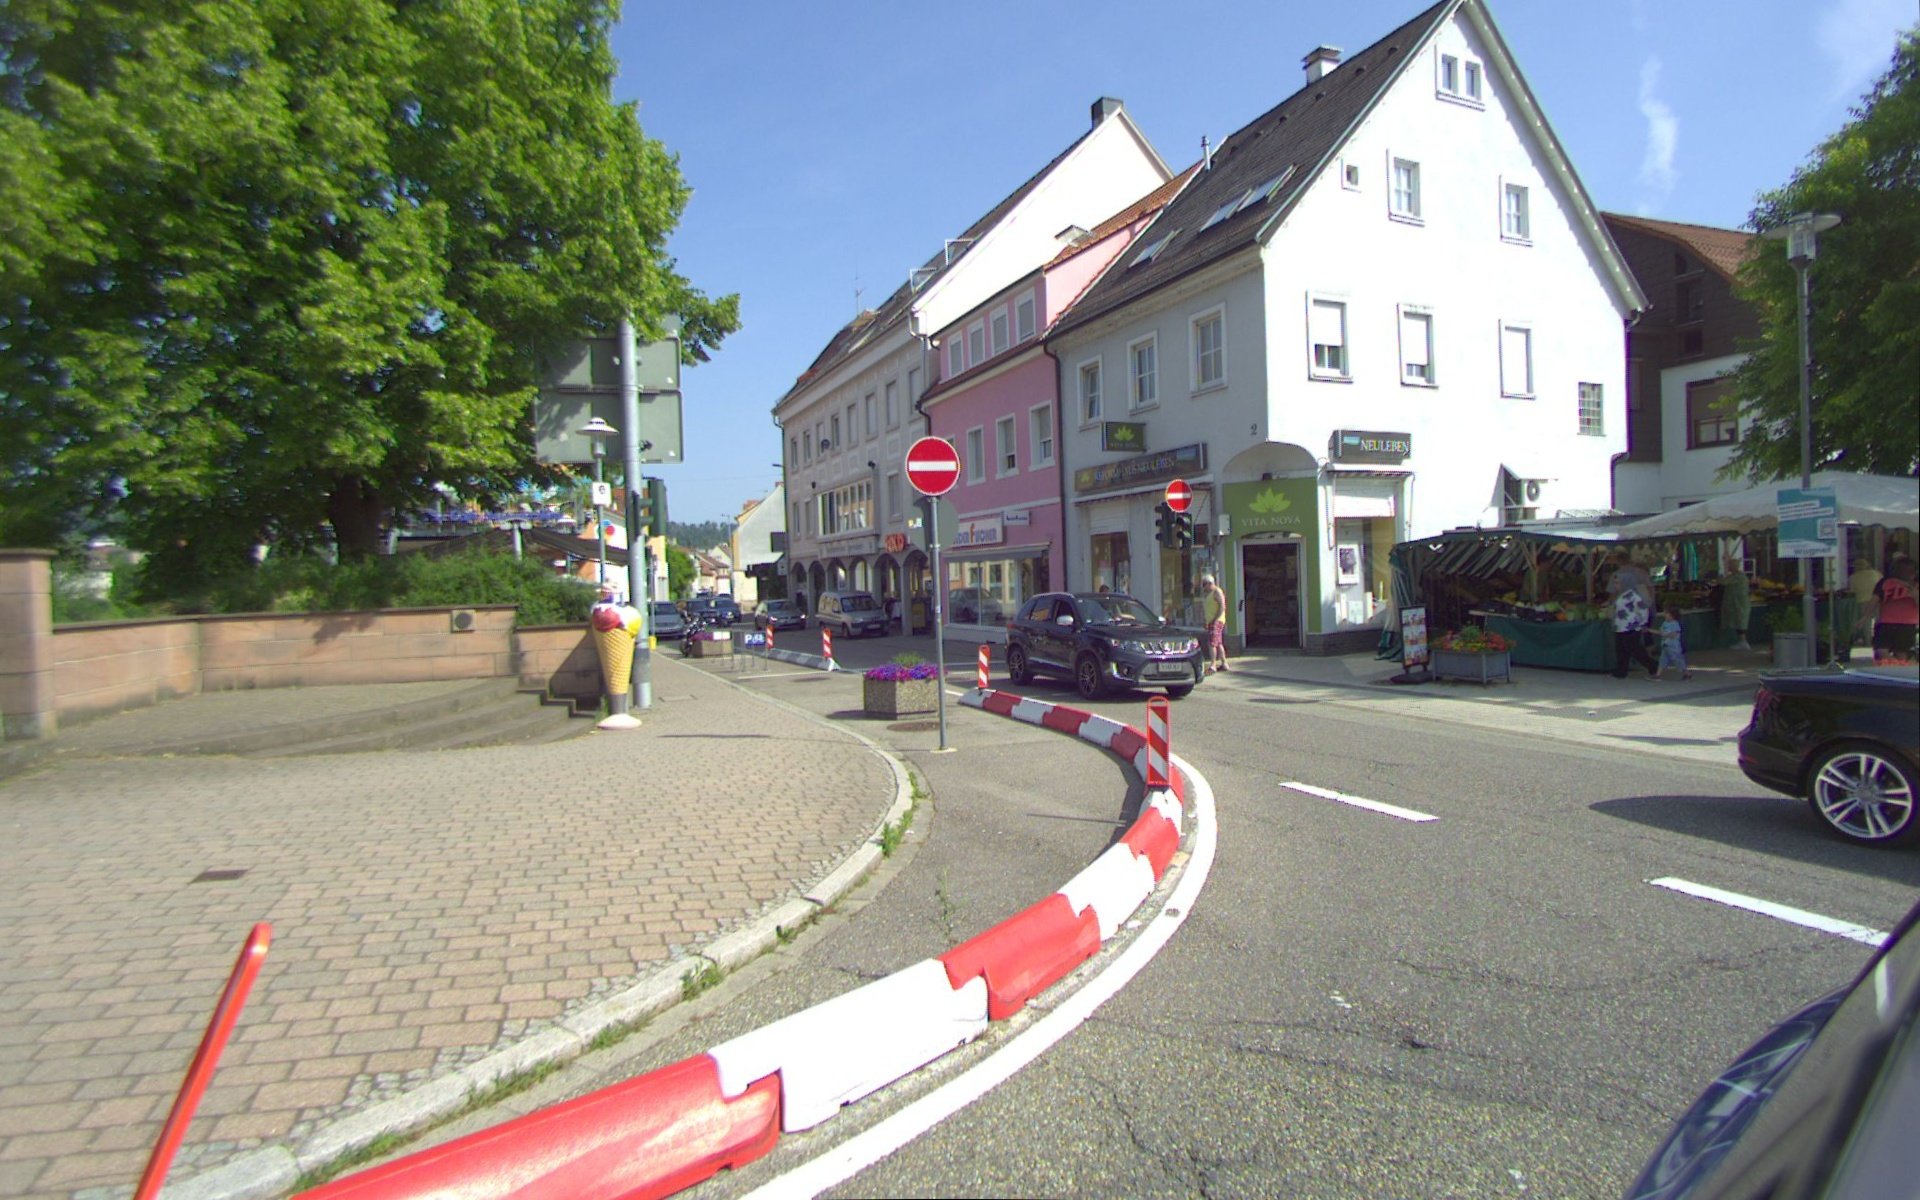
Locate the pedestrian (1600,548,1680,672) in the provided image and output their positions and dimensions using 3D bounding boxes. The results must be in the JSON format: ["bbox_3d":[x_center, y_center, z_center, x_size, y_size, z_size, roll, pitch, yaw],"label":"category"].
[{"bbox_3d":[9.853,0.136,14.691,0.778,1.745,0.703,-1,1,19],"label":"pedestrian"}]

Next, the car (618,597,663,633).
[{"bbox_3d":[-15.164,0.678,47.919,1.649,1.578,4.111,-3,1,-22],"label":"car"}]

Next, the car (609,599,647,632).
[{"bbox_3d":[-18.000,0.817,54.757,1.649,1.666,4.259,-1,0,-22],"label":"car"}]

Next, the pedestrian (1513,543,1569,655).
[{"bbox_3d":[10.590,-0.014,18.447,0.694,1.995,0.508,-1,1,4],"label":"pedestrian"}]

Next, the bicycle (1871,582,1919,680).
[{"bbox_3d":[12.888,0.390,12.841,0.606,1.250,1.862,-3,1,-35],"label":"bicycle"}]

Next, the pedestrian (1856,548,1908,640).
[{"bbox_3d":[15.845,-0.107,17.394,0.623,1.537,0.620,-2,1,-45],"label":"pedestrian"}]

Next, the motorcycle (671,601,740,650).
[{"bbox_3d":[-7.614,0.749,30.298,0.910,1.375,1.879,-2,1,32],"label":"motorcycle"}]

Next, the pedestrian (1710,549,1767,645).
[{"bbox_3d":[13.647,-0.059,17.734,0.693,1.647,0.523,-2,1,-27],"label":"pedestrian"}]

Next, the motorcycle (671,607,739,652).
[{"bbox_3d":[-7.995,0.924,31.815,0.920,1.286,2.072,-2,1,27],"label":"motorcycle"}]

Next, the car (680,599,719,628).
[{"bbox_3d":[-14.884,0.750,57.704,1.649,1.580,3.348,-2,1,-22],"label":"car"}]

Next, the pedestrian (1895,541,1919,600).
[{"bbox_3d":[22.637,-0.706,23.831,0.685,1.346,0.628,-3,3,-19],"label":"pedestrian"}]

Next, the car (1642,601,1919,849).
[{"bbox_3d":[6.434,0.718,5.616,1.719,1.373,4.208,-1,0,-17],"label":"car"}]

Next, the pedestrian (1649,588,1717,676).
[{"bbox_3d":[9.981,0.429,13.989,0.614,1.175,0.513,-1,1,18],"label":"pedestrian"}]

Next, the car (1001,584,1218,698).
[{"bbox_3d":[2.230,0.577,16.223,1.649,1.580,3.978,0,0,-22],"label":"car"}]

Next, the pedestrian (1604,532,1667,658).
[{"bbox_3d":[11.054,-0.093,16.557,0.642,2.010,0.705,-2,1,-43],"label":"pedestrian"}]

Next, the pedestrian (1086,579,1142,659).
[{"bbox_3d":[3.343,0.407,22.074,0.772,1.652,0.860,-5,2,-21],"label":"pedestrian"}]

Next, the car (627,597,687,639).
[{"bbox_3d":[-12.930,0.726,43.009,1.715,1.617,4.601,-3,1,-25],"label":"car"}]

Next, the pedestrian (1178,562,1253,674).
[{"bbox_3d":[4.595,0.309,18.257,1.003,1.836,0.907,-6,3,6],"label":"pedestrian"}]

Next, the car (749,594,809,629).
[{"bbox_3d":[-8.645,0.534,48.021,1.772,1.488,4.463,-3,1,-23],"label":"car"}]

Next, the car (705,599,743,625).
[{"bbox_3d":[-15.421,0.730,65.974,1.734,1.580,3.978,-2,1,-22],"label":"car"}]

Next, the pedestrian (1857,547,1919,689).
[{"bbox_3d":[11.690,0.205,12.403,0.561,1.678,0.885,-4,4,-29],"label":"pedestrian"}]

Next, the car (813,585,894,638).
[{"bbox_3d":[-4.047,0.413,37.942,1.677,1.760,4.152,-4,2,-25],"label":"car"}]
